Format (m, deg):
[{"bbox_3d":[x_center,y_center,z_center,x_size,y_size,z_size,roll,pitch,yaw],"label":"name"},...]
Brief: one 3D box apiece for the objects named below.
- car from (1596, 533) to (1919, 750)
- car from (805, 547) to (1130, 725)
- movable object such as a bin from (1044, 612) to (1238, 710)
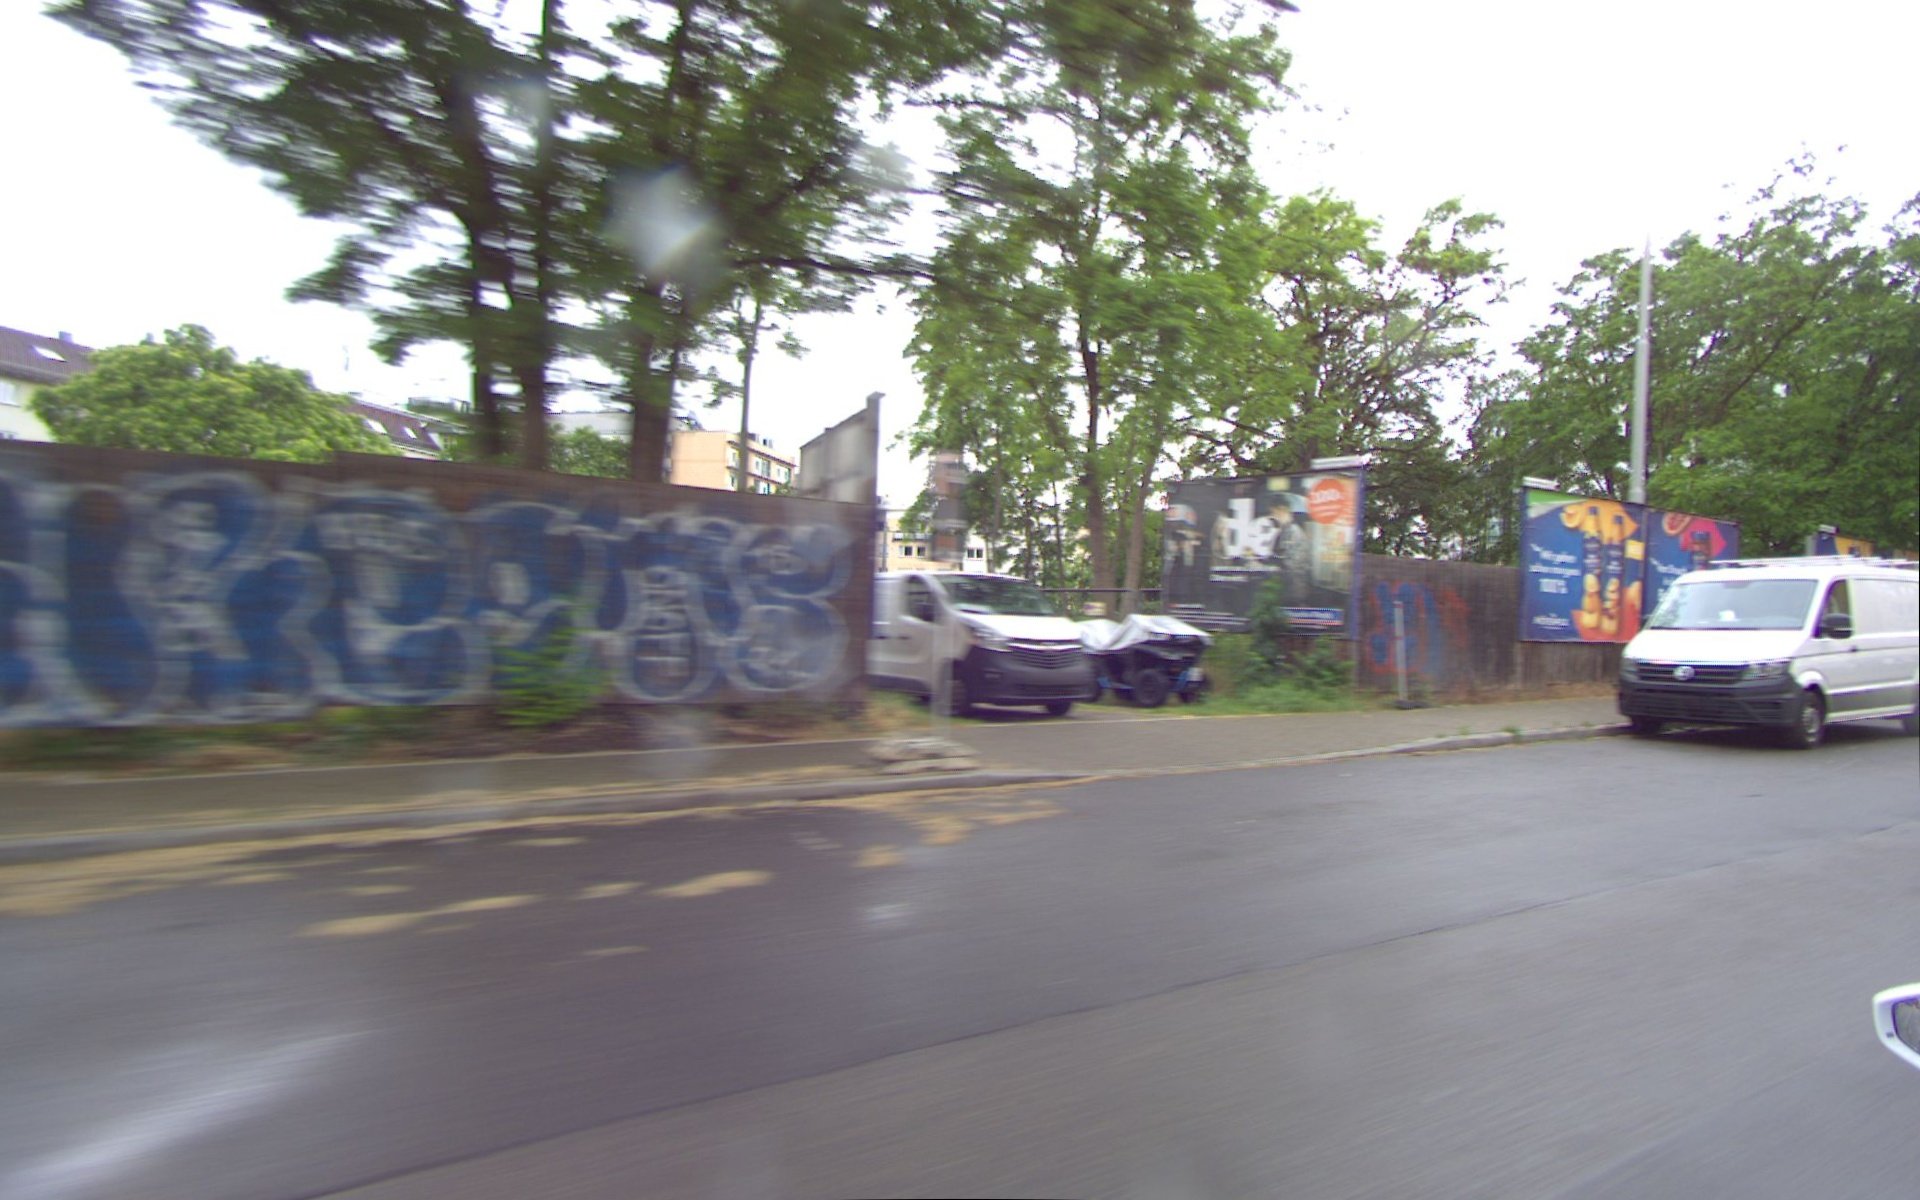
[{"bbox_3d":[11.534,0.545,14.000,5.911,2.520,2.003,1,-1,-30],"label":"car"},{"bbox_3d":[-0.175,0.462,14.430,2.122,2.036,5.470,1,-1,-31],"label":"car"},{"bbox_3d":[2.927,0.931,16.445,1.664,1.443,2.668,1,-1,-43],"label":"movable object such as a bin"}]
